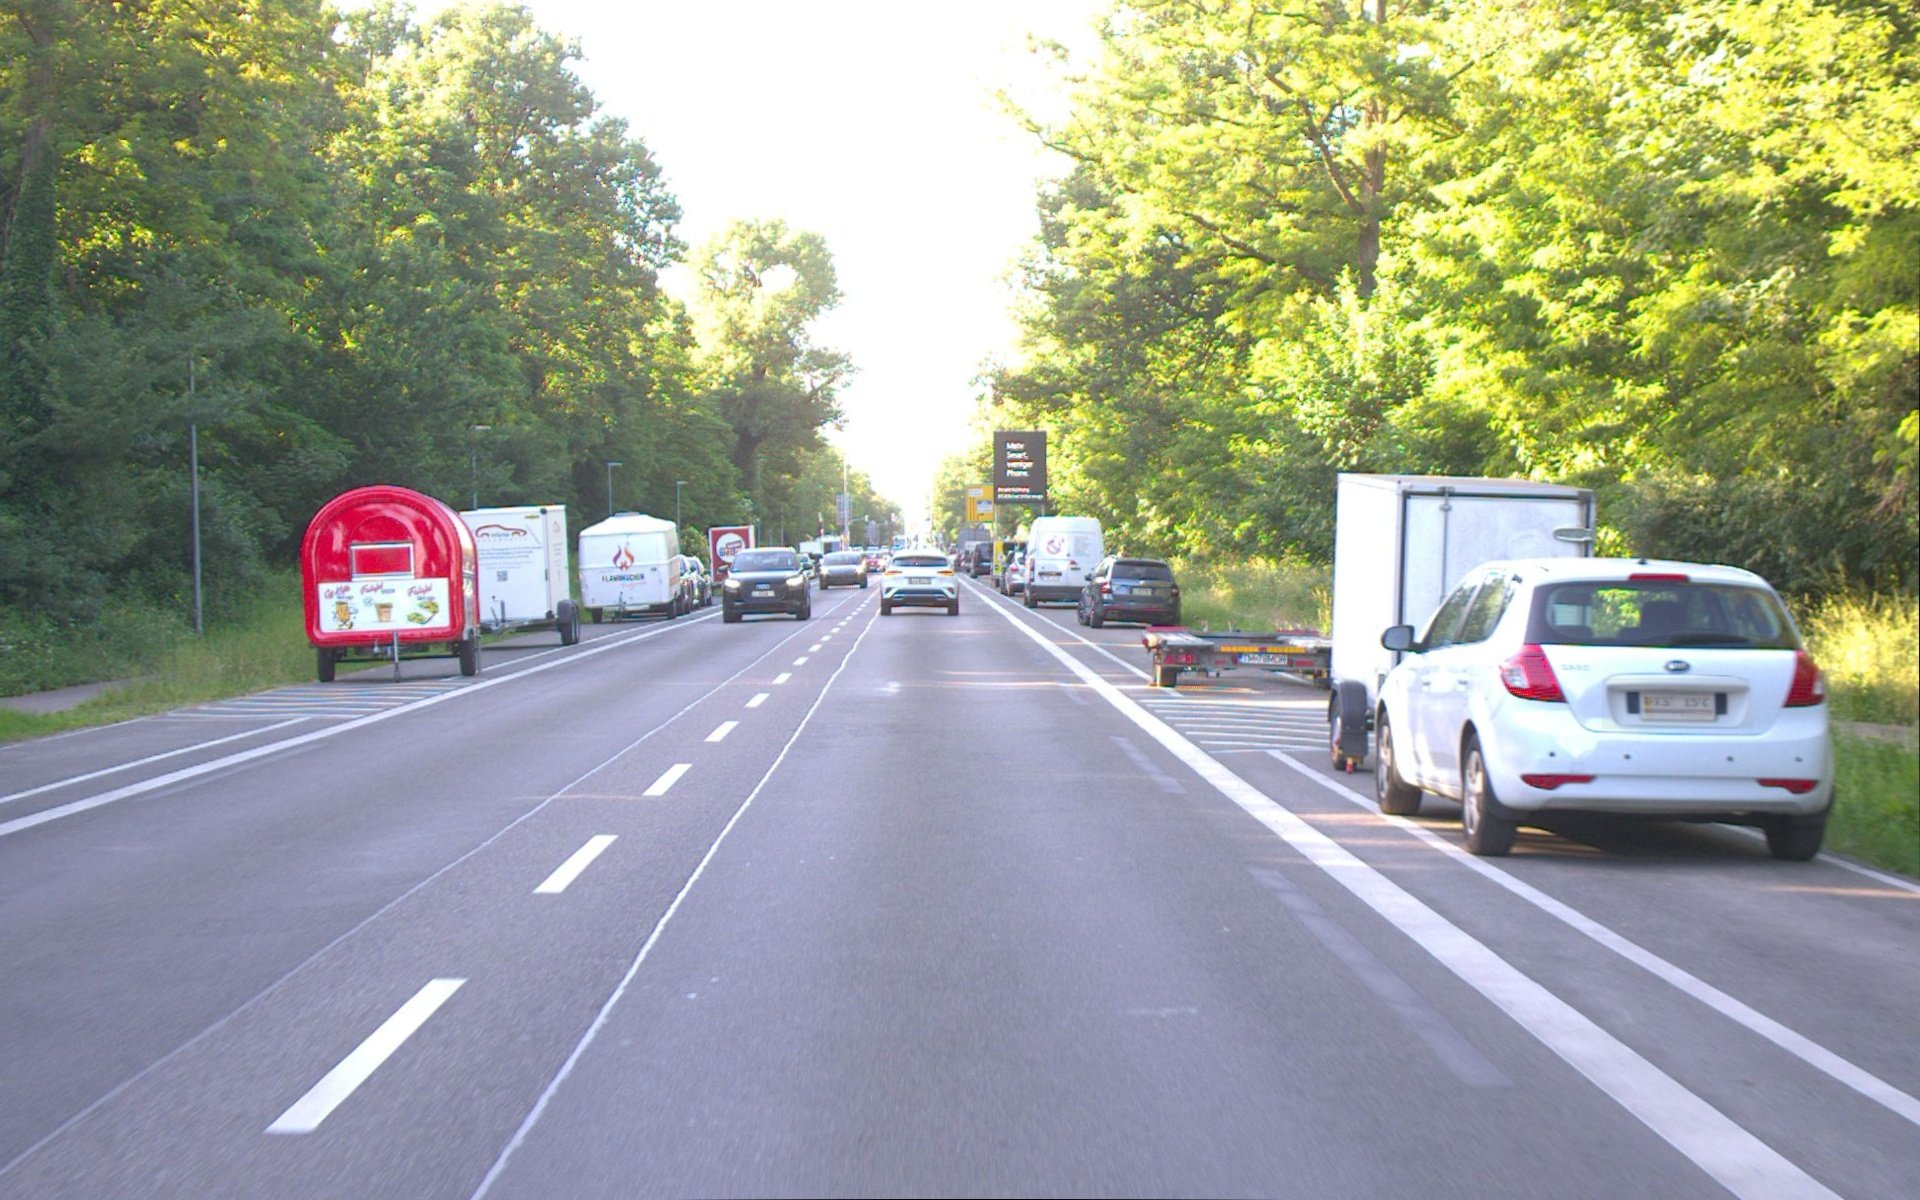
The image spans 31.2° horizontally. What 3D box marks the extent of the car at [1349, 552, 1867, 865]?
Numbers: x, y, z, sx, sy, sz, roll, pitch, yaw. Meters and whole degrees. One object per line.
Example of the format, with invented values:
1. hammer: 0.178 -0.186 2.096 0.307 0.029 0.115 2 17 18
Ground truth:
1. car: 3.333 0.483 18.602 1.887 1.463 4.570 0 1 -1

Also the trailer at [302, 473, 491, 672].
1. trailer: -7.337 -0.379 45.088 2.066 2.472 3.561 -1 1 -4

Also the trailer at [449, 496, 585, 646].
1. trailer: -7.605 -0.519 59.307 2.066 2.472 3.561 -1 1 -4

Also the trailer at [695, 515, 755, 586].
1. trailer: -8.918 -1.876 130.621 1.993 2.612 4.086 -1 1 0

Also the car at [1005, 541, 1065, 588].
1. car: 2.471 -1.186 114.076 1.734 1.482 4.401 1 1 -2

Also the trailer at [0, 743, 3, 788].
1. trailer: -7.276 0.313 20.806 1.853 2.007 3.561 -3 1 0

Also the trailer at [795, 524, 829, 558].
1. trailer: -10.158 -4.069 236.254 2.075 2.285 3.486 -1 1 1

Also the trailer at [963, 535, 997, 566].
1. trailer: 1.371 -3.392 235.290 1.616 2.105 2.394 1 1 20

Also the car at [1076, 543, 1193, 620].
1. car: 3.499 -0.403 69.639 1.834 1.416 4.597 2 1 -3

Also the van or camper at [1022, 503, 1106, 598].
1. van or camper: 2.792 -1.354 93.364 2.125 2.474 6.305 0 1 0

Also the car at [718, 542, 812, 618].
1. car: -4.289 -0.458 76.182 1.818 1.581 4.459 -1 1 0

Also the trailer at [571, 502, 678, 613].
1. trailer: -7.975 -1.022 82.089 2.345 2.520 4.345 -1 1 -4

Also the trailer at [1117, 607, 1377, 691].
1. trailer: 3.148 0.517 38.985 2.432 0.796 5.660 1 1 0

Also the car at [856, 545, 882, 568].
1. car: -5.797 -2.786 219.443 1.604 1.416 3.519 -2 1 -1

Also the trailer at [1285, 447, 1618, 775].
1. trailer: 3.417 0.043 24.472 1.754 2.154 3.540 0 1 -2

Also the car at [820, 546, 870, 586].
1. car: -4.566 -1.369 136.964 1.819 1.527 4.530 -1 1 -1

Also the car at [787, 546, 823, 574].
1. car: -8.861 -2.298 196.667 1.867 1.445 4.071 -3 1 0

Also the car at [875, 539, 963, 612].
1. car: -0.961 -0.595 80.505 1.993 1.634 4.000 -1 1 -1

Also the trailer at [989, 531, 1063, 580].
1. trailer: 2.739 -1.841 141.836 1.964 2.016 3.840 0 1 19
